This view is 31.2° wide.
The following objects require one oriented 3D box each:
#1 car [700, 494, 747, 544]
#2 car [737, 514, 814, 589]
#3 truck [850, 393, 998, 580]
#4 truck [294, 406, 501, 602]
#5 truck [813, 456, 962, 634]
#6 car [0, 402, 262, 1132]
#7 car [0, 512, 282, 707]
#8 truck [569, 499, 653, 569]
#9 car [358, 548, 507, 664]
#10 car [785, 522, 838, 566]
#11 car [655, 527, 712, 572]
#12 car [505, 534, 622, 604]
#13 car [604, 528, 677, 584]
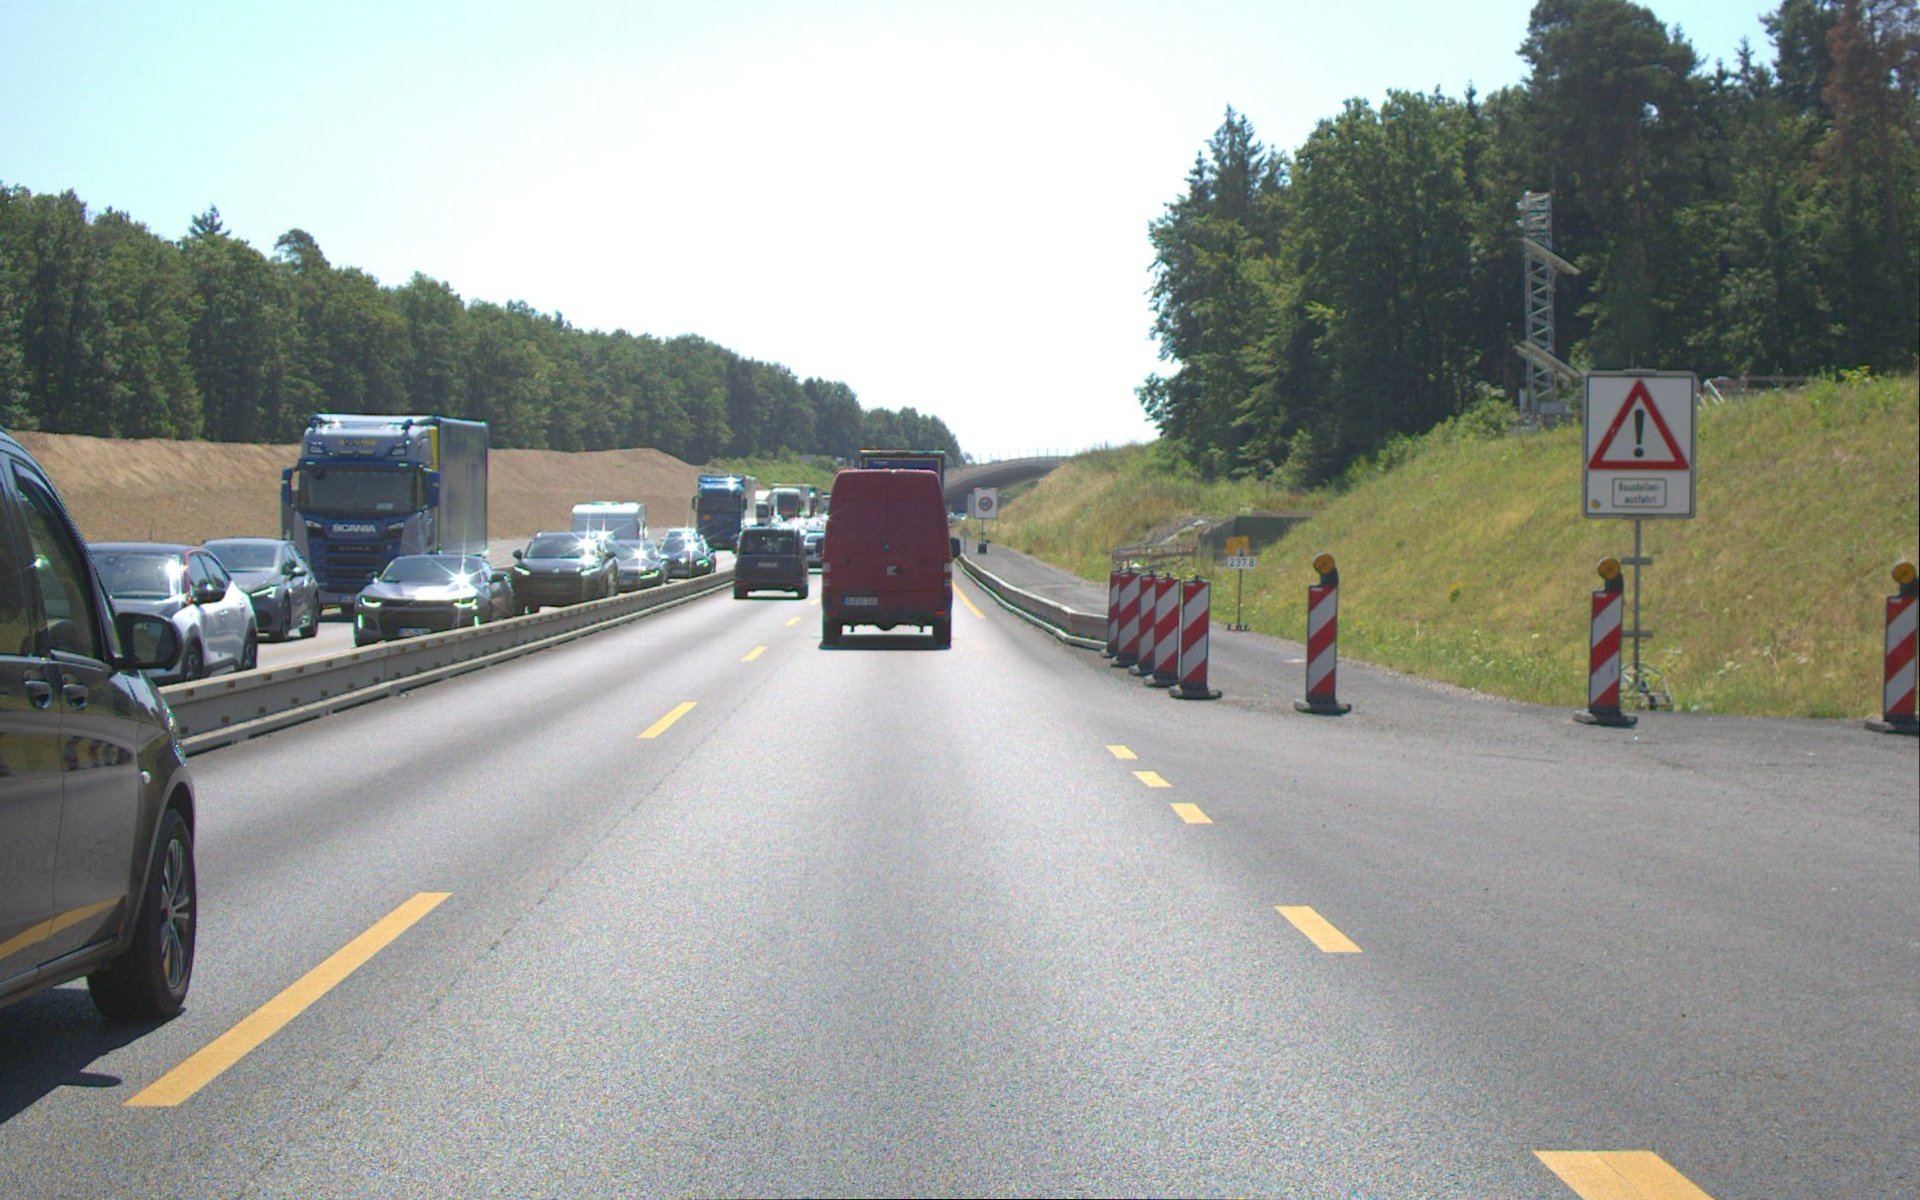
[{"bbox_3d":[-12.913,-4.407,187.637,2.385,2.571,4.000,1,0,-2],"label":"car"},{"bbox_3d":[-4.690,-1.237,87.845,1.751,1.818,4.783,1,1,-1],"label":"car"},{"bbox_3d":[-1.213,-3.496,113.024,4.400,5.477,16.603,1,0,-1],"label":"truck"},{"bbox_3d":[-11.151,-1.789,69.034,2.509,3.605,9.641,1,0,0],"label":"truck"},{"bbox_3d":[-1.136,-0.807,53.355,2.153,2.581,5.333,1,0,-1],"label":"truck"},{"bbox_3d":[-3.362,0.404,9.298,1.874,1.845,5.479,1,0,-1],"label":"car"},{"bbox_3d":[-7.149,0.080,29.887,1.625,1.552,4.068,1,0,1],"label":"car"},{"bbox_3d":[-12.325,-2.309,121.800,2.400,2.350,5.227,1,0,0],"label":"truck"},{"bbox_3d":[-7.585,0.082,49.637,1.683,1.590,3.224,1,0,-1],"label":"car"},{"bbox_3d":[-5.496,-2.057,127.437,1.831,1.517,3.961,1,0,-1],"label":"car"},{"bbox_3d":[-8.638,-1.578,107.539,1.464,1.323,3.371,1,0,0],"label":"car"},{"bbox_3d":[-7.898,-0.592,68.819,1.841,1.323,3.942,1,0,0],"label":"car"},{"bbox_3d":[-7.993,-1.081,86.096,1.464,1.323,3.371,1,0,0],"label":"car"}]
